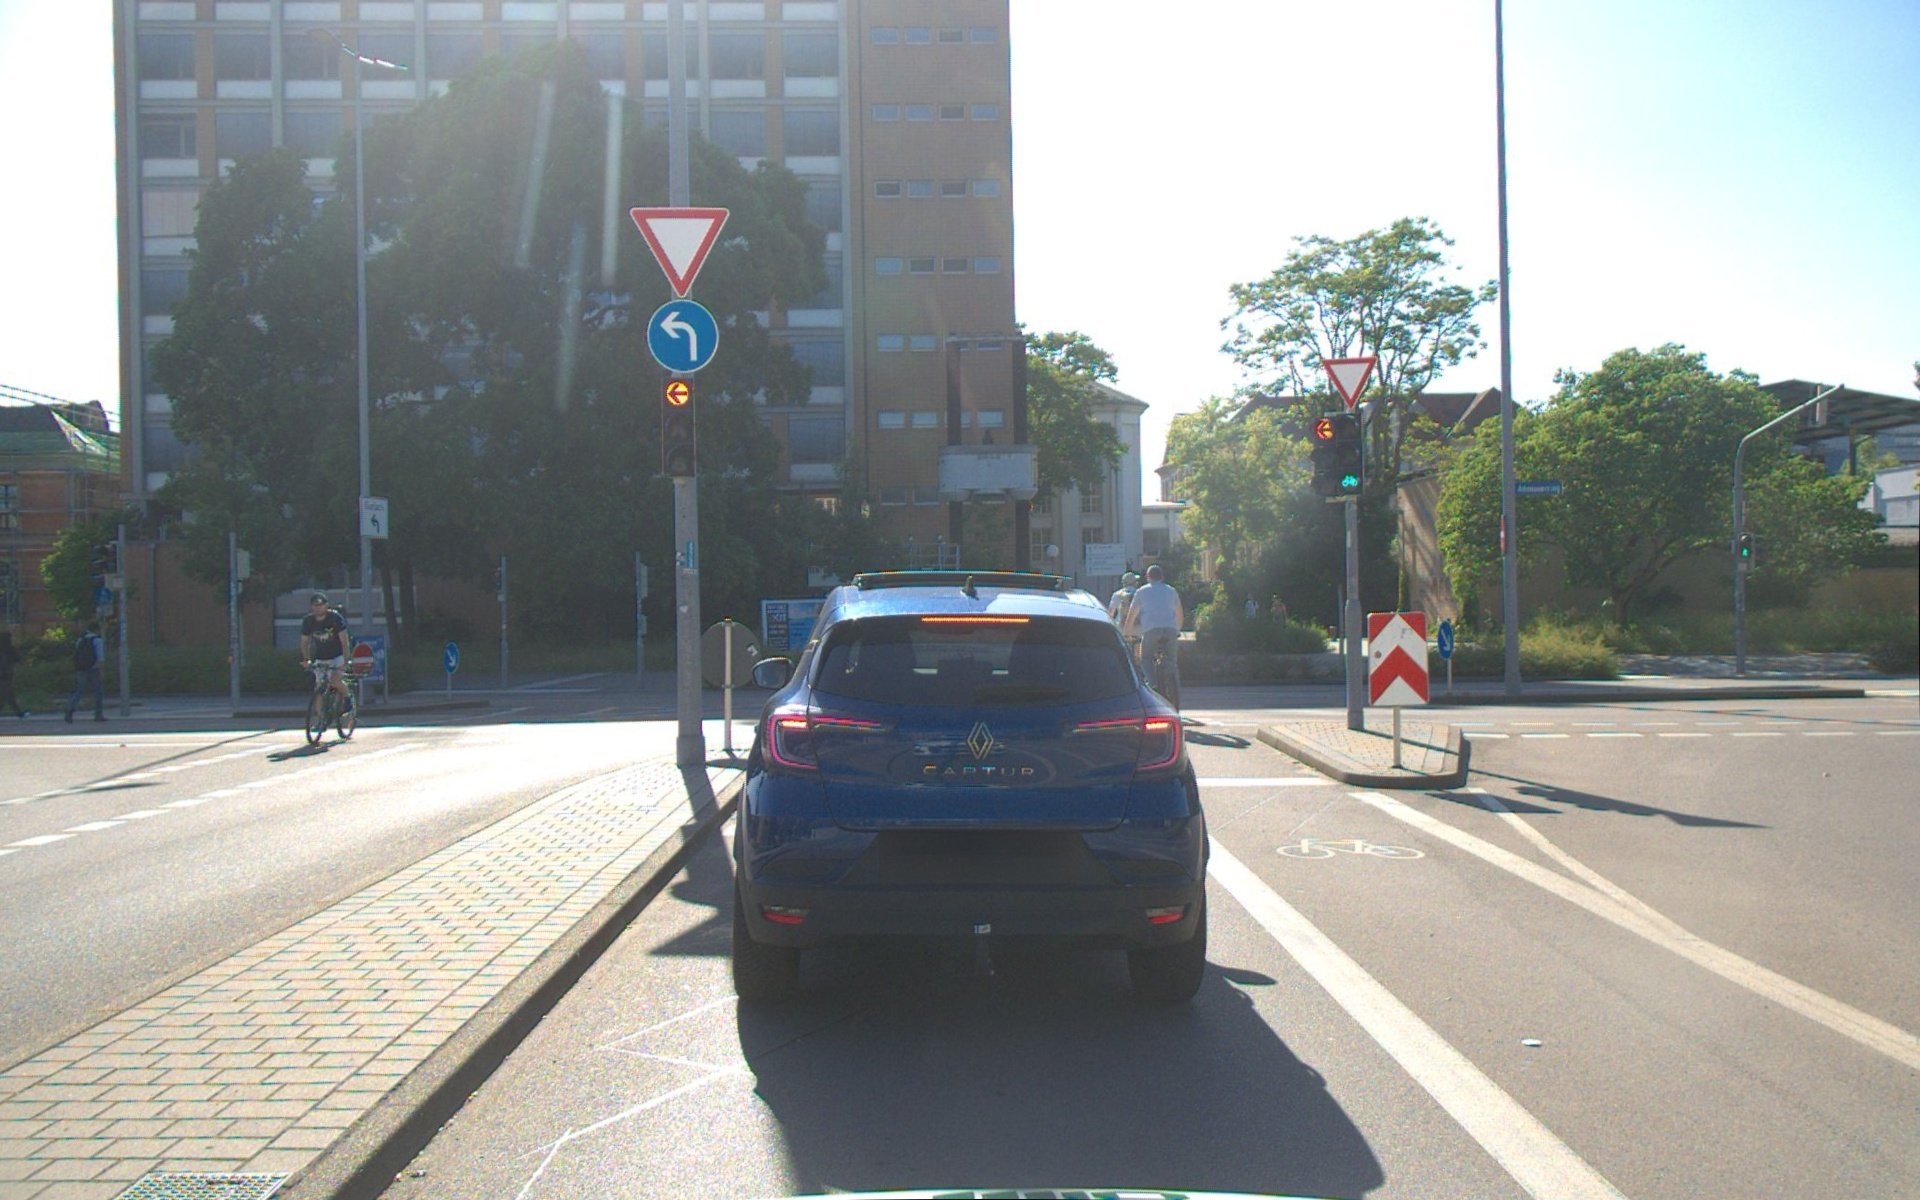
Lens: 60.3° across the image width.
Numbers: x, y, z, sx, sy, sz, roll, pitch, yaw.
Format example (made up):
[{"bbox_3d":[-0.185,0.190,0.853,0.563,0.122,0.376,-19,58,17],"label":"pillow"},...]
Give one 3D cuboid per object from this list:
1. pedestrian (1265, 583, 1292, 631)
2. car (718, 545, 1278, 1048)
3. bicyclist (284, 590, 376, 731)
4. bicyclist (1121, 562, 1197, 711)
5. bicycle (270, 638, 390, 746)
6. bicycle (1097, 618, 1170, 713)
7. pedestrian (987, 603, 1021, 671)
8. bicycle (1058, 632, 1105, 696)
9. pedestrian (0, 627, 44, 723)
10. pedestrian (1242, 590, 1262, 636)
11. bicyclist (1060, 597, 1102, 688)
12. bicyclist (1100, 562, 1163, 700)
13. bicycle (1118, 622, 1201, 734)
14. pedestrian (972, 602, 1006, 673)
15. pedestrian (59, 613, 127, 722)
[{"bbox_3d":[11.063,0.244,57.439,0.665,1.672,0.732,0,-1,38],"label":"pedestrian"},{"bbox_3d":[0.105,0.659,7.421,1.838,1.646,3.797,1,0,-1],"label":"car"},{"bbox_3d":[-7.645,0.719,20.114,0.705,1.649,0.977,-2,0,-1],"label":"bicyclist"},{"bbox_3d":[2.267,0.409,18.933,0.705,1.645,0.977,-1,0,-1],"label":"bicyclist"},{"bbox_3d":[-7.636,1.090,20.138,0.731,1.185,1.870,-2,0,-1],"label":"bicycle"},{"bbox_3d":[2.294,0.848,22.051,0.731,1.185,1.870,-1,0,-1],"label":"bicycle"},{"bbox_3d":[1.194,1.001,44.656,0.718,1.813,0.732,1,-1,16],"label":"pedestrian"},{"bbox_3d":[2.393,1.256,32.736,0.731,1.185,1.870,-1,0,-1],"label":"bicycle"},{"bbox_3d":[-16.582,1.309,28.905,0.702,1.640,0.682,-2,-1,15],"label":"pedestrian"},{"bbox_3d":[10.765,0.463,60.974,0.661,1.672,0.736,1,-1,14],"label":"pedestrian"},{"bbox_3d":[2.388,0.834,32.710,0.705,1.765,0.977,-1,0,-1],"label":"bicyclist"},{"bbox_3d":[2.283,0.406,22.114,0.705,1.793,0.977,-1,0,-1],"label":"bicyclist"},{"bbox_3d":[2.271,0.858,18.983,0.701,1.185,1.870,-1,0,0],"label":"bicycle"},{"bbox_3d":[0.769,0.977,43.660,0.718,1.848,0.732,1,-1,16],"label":"pedestrian"},{"bbox_3d":[-15.295,1.179,29.209,0.740,1.865,1.093,-1,-2,-9],"label":"pedestrian"}]
